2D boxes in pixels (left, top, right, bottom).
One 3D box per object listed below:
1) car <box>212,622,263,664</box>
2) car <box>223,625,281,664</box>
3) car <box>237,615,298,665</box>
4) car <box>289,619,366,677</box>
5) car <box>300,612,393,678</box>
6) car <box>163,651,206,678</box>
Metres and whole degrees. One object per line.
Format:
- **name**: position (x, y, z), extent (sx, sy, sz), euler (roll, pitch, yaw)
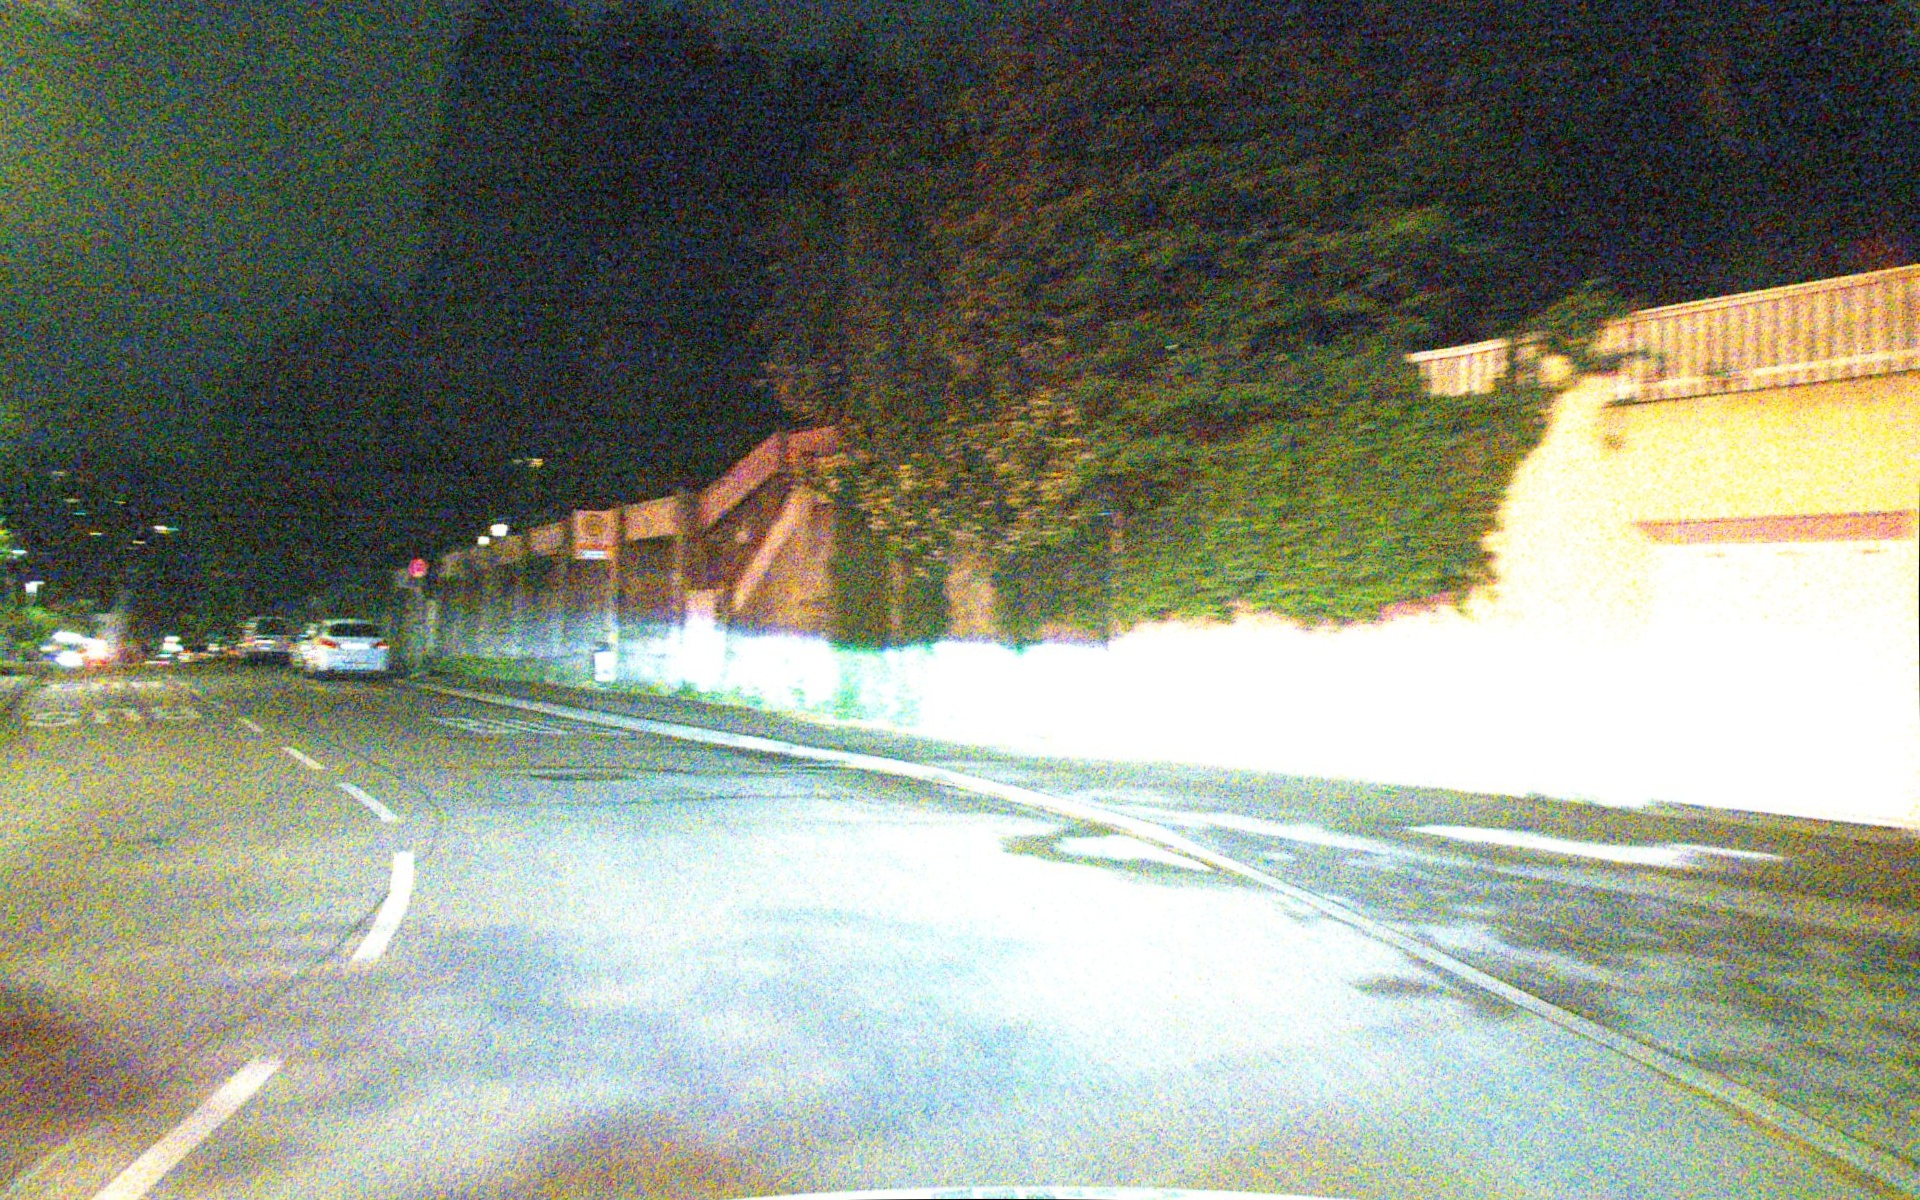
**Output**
- **car**: position (-31.669, 1.912, 72.433), extent (1.810, 1.693, 4.579), euler (1, -3, -26)
- **car**: position (-28.958, 1.824, 67.566), extent (1.724, 1.497, 4.215), euler (3, -3, -28)
- **car**: position (-26.324, 1.538, 62.814), extent (1.698, 1.792, 4.714), euler (2, -2, -27)
- **car**: position (-18.270, 1.349, 47.719), extent (1.591, 1.487, 3.682), euler (-2, 1, -28)
- **car**: position (-16.266, 1.171, 43.725), extent (1.734, 1.622, 4.686), euler (2, -2, -27)
- **car**: position (-45.980, 3.834, 98.038), extent (1.746, 1.502, 4.228), euler (4, -4, -32)
